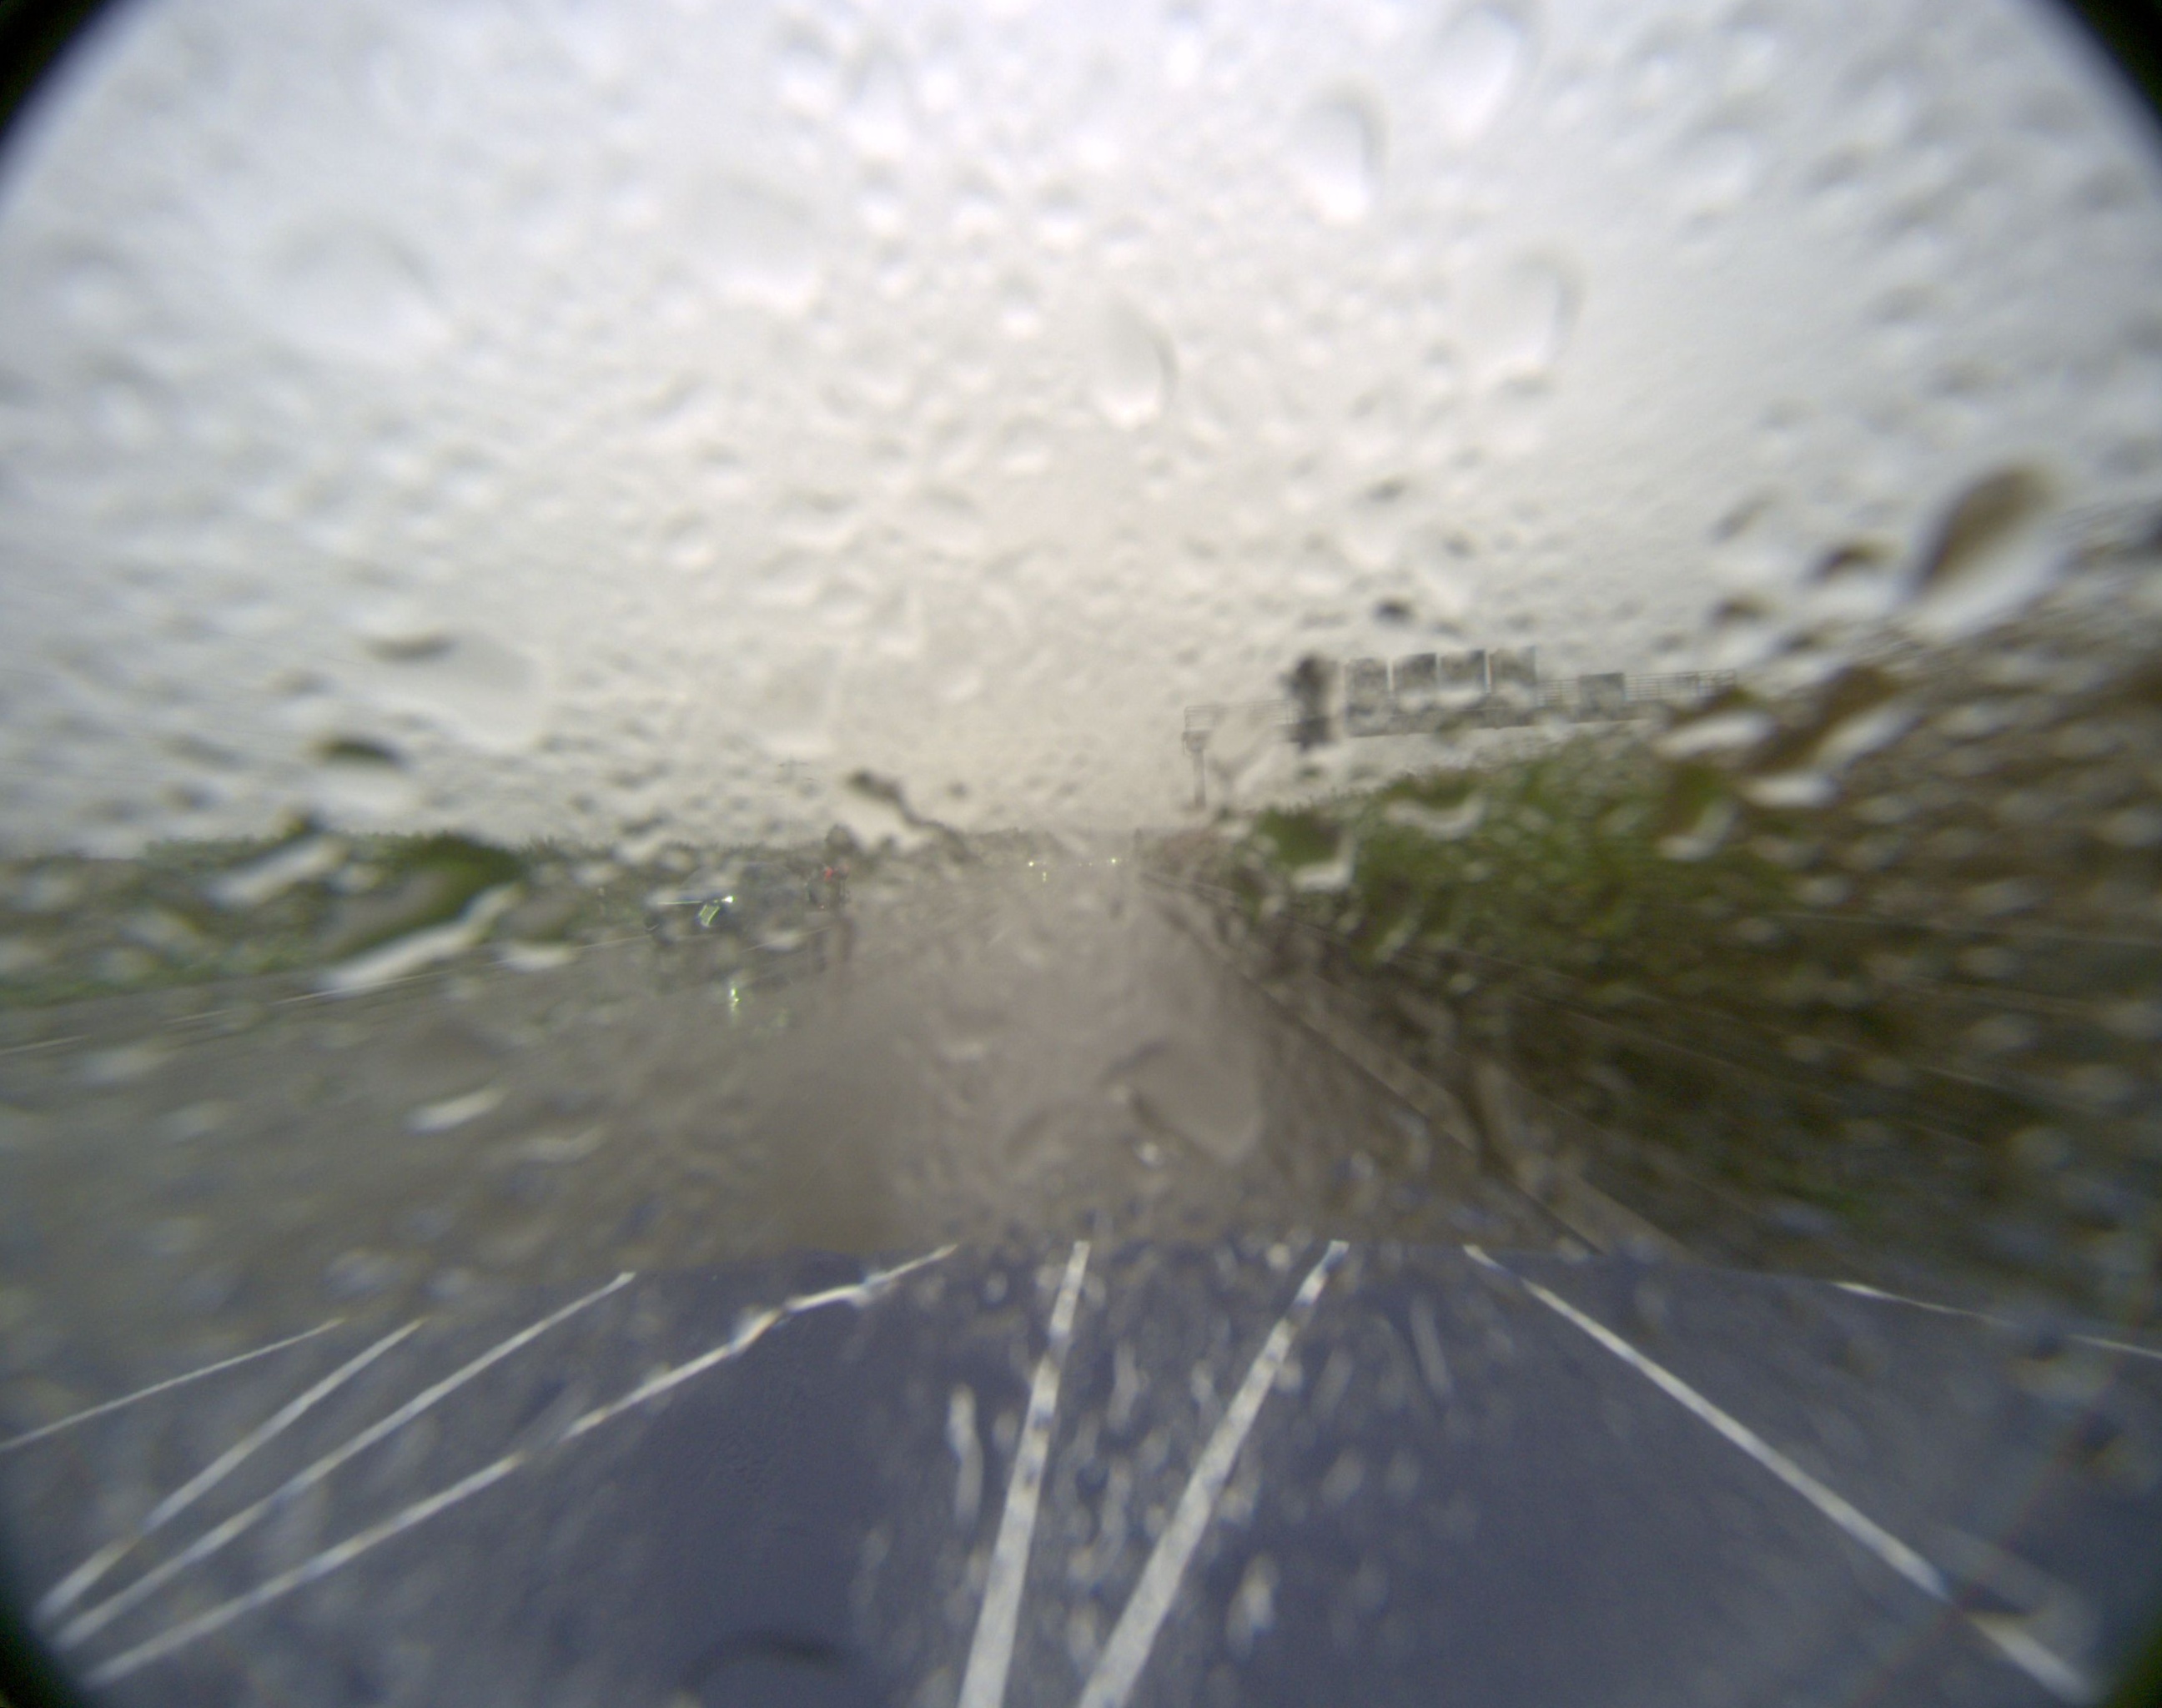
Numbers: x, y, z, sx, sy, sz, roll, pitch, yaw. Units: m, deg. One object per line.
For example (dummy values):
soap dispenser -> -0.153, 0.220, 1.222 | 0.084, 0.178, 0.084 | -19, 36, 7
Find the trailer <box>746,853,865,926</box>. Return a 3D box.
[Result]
trailer -> -7.435, 0.899, 20.837 | 1.984, 1.774, 3.188 | -2, 1, 1

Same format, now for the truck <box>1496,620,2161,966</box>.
truck -> 18.205, -1.007, 20.072 | 4.716, 5.015, 18.228 | -2, 0, 1

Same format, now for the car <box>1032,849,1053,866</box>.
car -> -4.747, 0.439, 93.568 | 1.998, 2.001, 4.002 | -3, -1, 4

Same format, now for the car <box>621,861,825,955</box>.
car -> -7.530, 1.029, 16.703 | 1.998, 1.610, 4.992 | -2, 0, 1

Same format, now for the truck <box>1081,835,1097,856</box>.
truck -> 2.030, -1.930, 180.029 | 3.135, 4.641, 11.406 | -2, 0, 3

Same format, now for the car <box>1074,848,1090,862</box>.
car -> 0.167, 0.193, 114.334 | 1.998, 2.002, 4.002 | -2, 0, 6

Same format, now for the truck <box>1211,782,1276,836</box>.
truck -> 18.528, -4.899, 88.456 | 4.715, 5.014, 18.234 | -2, 0, 4
